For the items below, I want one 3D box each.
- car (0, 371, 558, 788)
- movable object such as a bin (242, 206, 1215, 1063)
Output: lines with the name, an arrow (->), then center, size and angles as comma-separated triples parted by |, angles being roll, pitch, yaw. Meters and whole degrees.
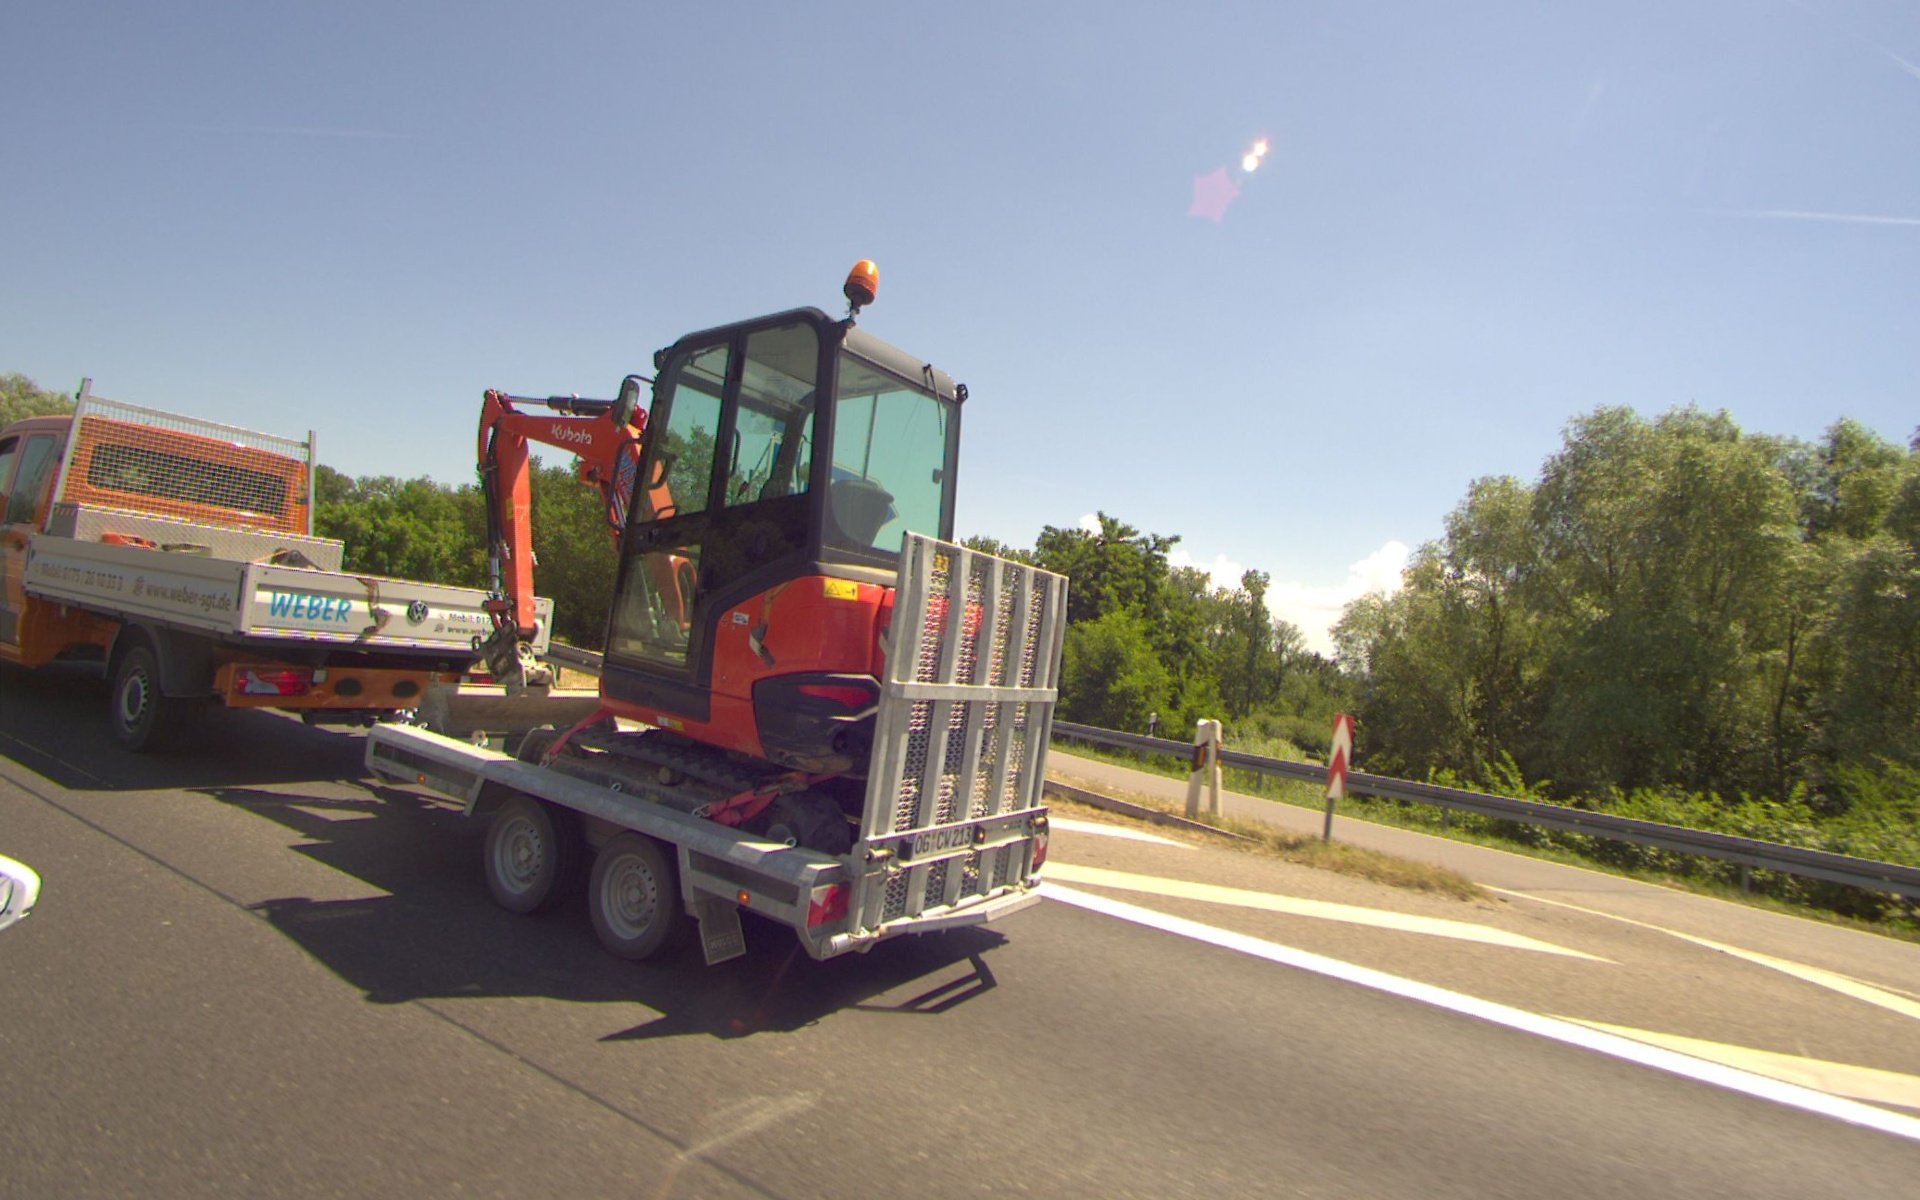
car -> -6.684, -0.364, 8.544 | 7.106, 2.432, 1.998 | 7, -2, 32
movable object such as a bin -> -1.394, -0.006, 5.480 | 4.682, 2.847, 2.179 | 7, -2, 32
